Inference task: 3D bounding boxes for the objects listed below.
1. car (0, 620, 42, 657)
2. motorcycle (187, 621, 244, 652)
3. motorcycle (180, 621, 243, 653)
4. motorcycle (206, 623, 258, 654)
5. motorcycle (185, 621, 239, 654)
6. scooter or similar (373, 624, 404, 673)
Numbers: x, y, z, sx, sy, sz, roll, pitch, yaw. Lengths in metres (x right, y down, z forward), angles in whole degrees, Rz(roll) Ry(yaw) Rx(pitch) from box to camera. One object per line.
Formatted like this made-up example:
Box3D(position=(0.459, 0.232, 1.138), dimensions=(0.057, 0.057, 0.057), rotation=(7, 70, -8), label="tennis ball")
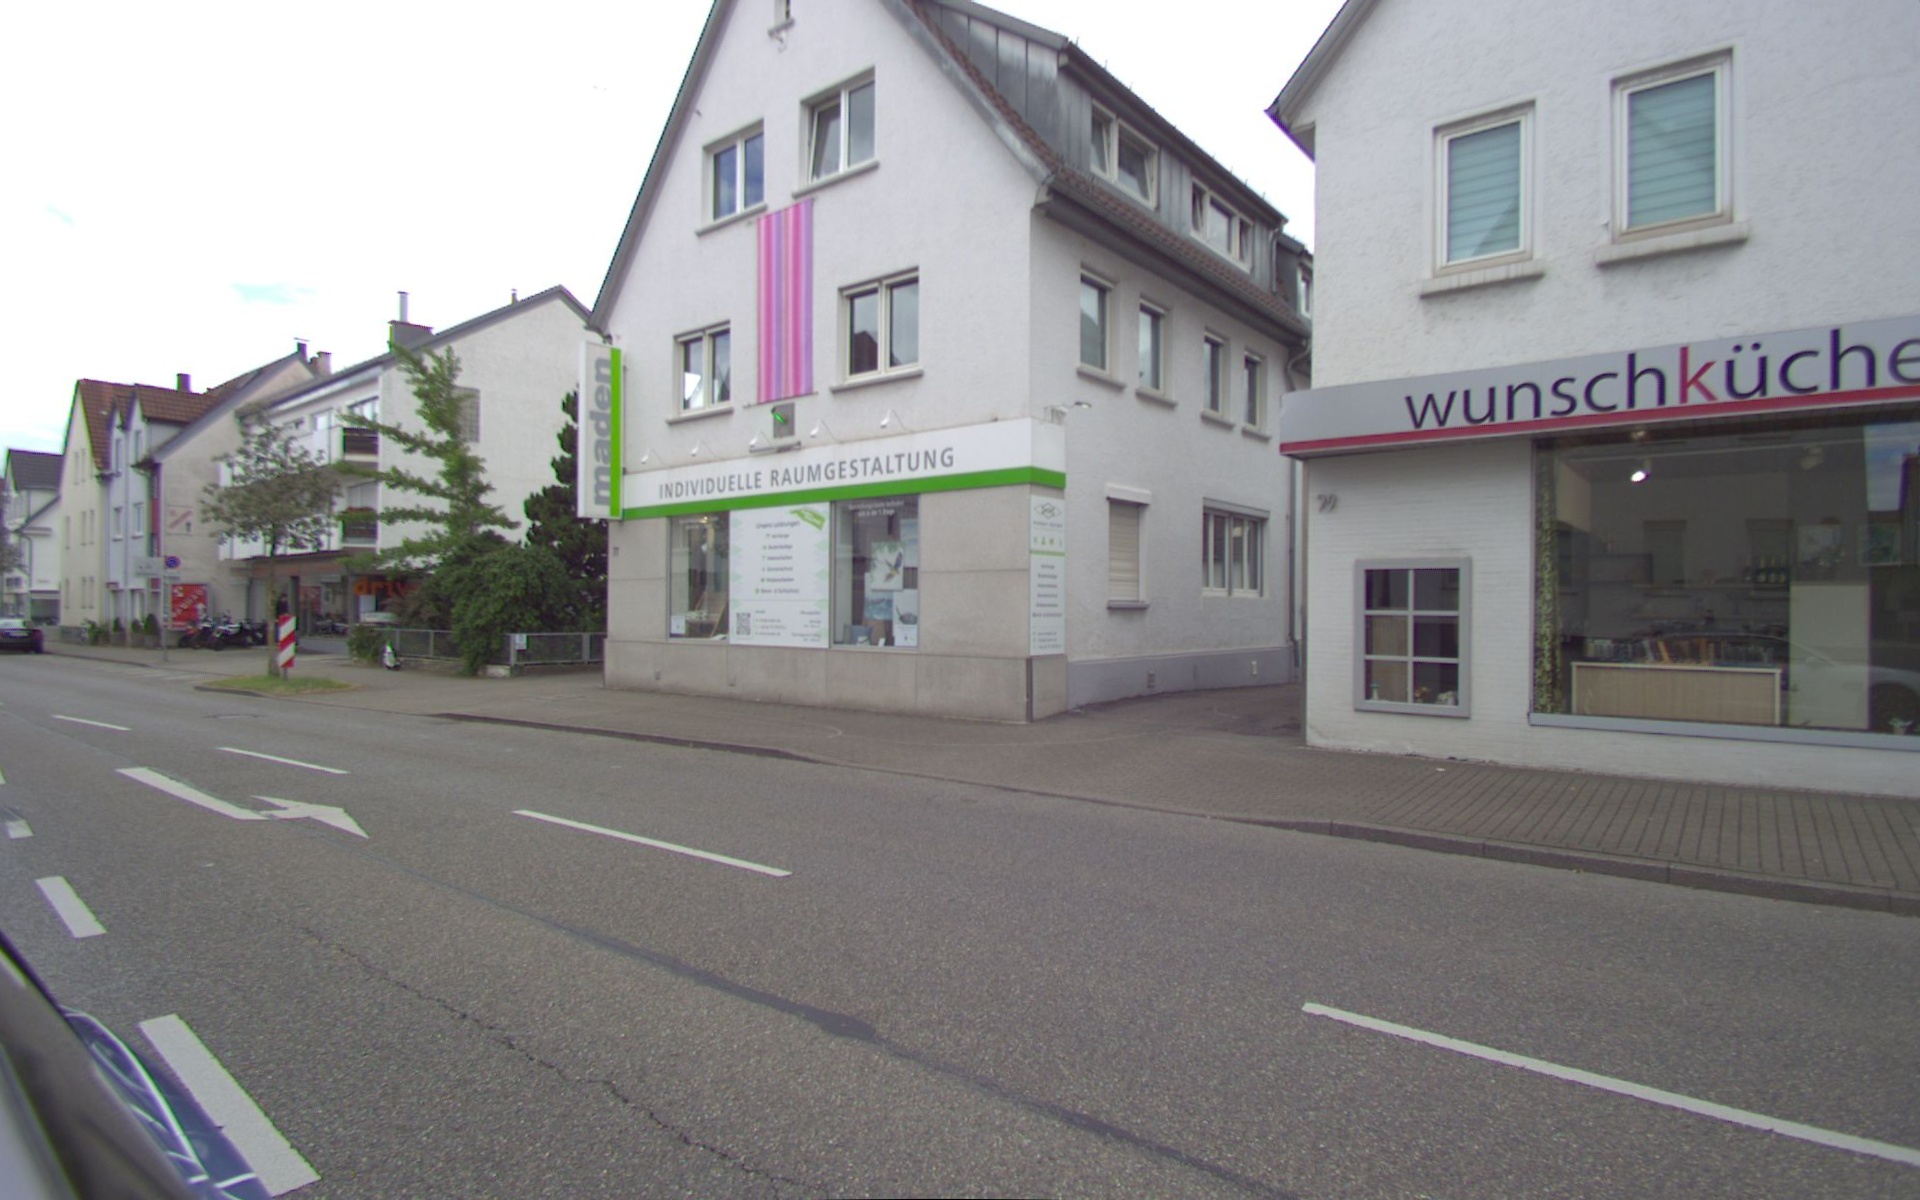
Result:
Box3D(position=(-37.970, 1.517, 40.106), dimensions=(3.993, 1.423, 1.614), rotation=(-1, -2, 37), label="car")
Box3D(position=(-28.293, 1.368, 38.468), dimensions=(0.558, 1.114, 1.657), rotation=(-1, 1, 40), label="motorcycle")
Box3D(position=(-27.893, 1.366, 37.729), dimensions=(0.504, 1.114, 1.811), rotation=(-1, 1, 40), label="motorcycle")
Box3D(position=(-26.437, 1.382, 36.761), dimensions=(0.525, 1.030, 1.411), rotation=(-1, 1, 40), label="motorcycle")
Box3D(position=(-27.316, 1.362, 36.958), dimensions=(1.494, 1.114, 0.590), rotation=(-2, 1, -44), label="motorcycle")
Box3D(position=(-13.820, 1.157, 24.468), dimensions=(0.458, 1.132, 1.832), rotation=(-1, -1, -35), label="scooter or similar")
